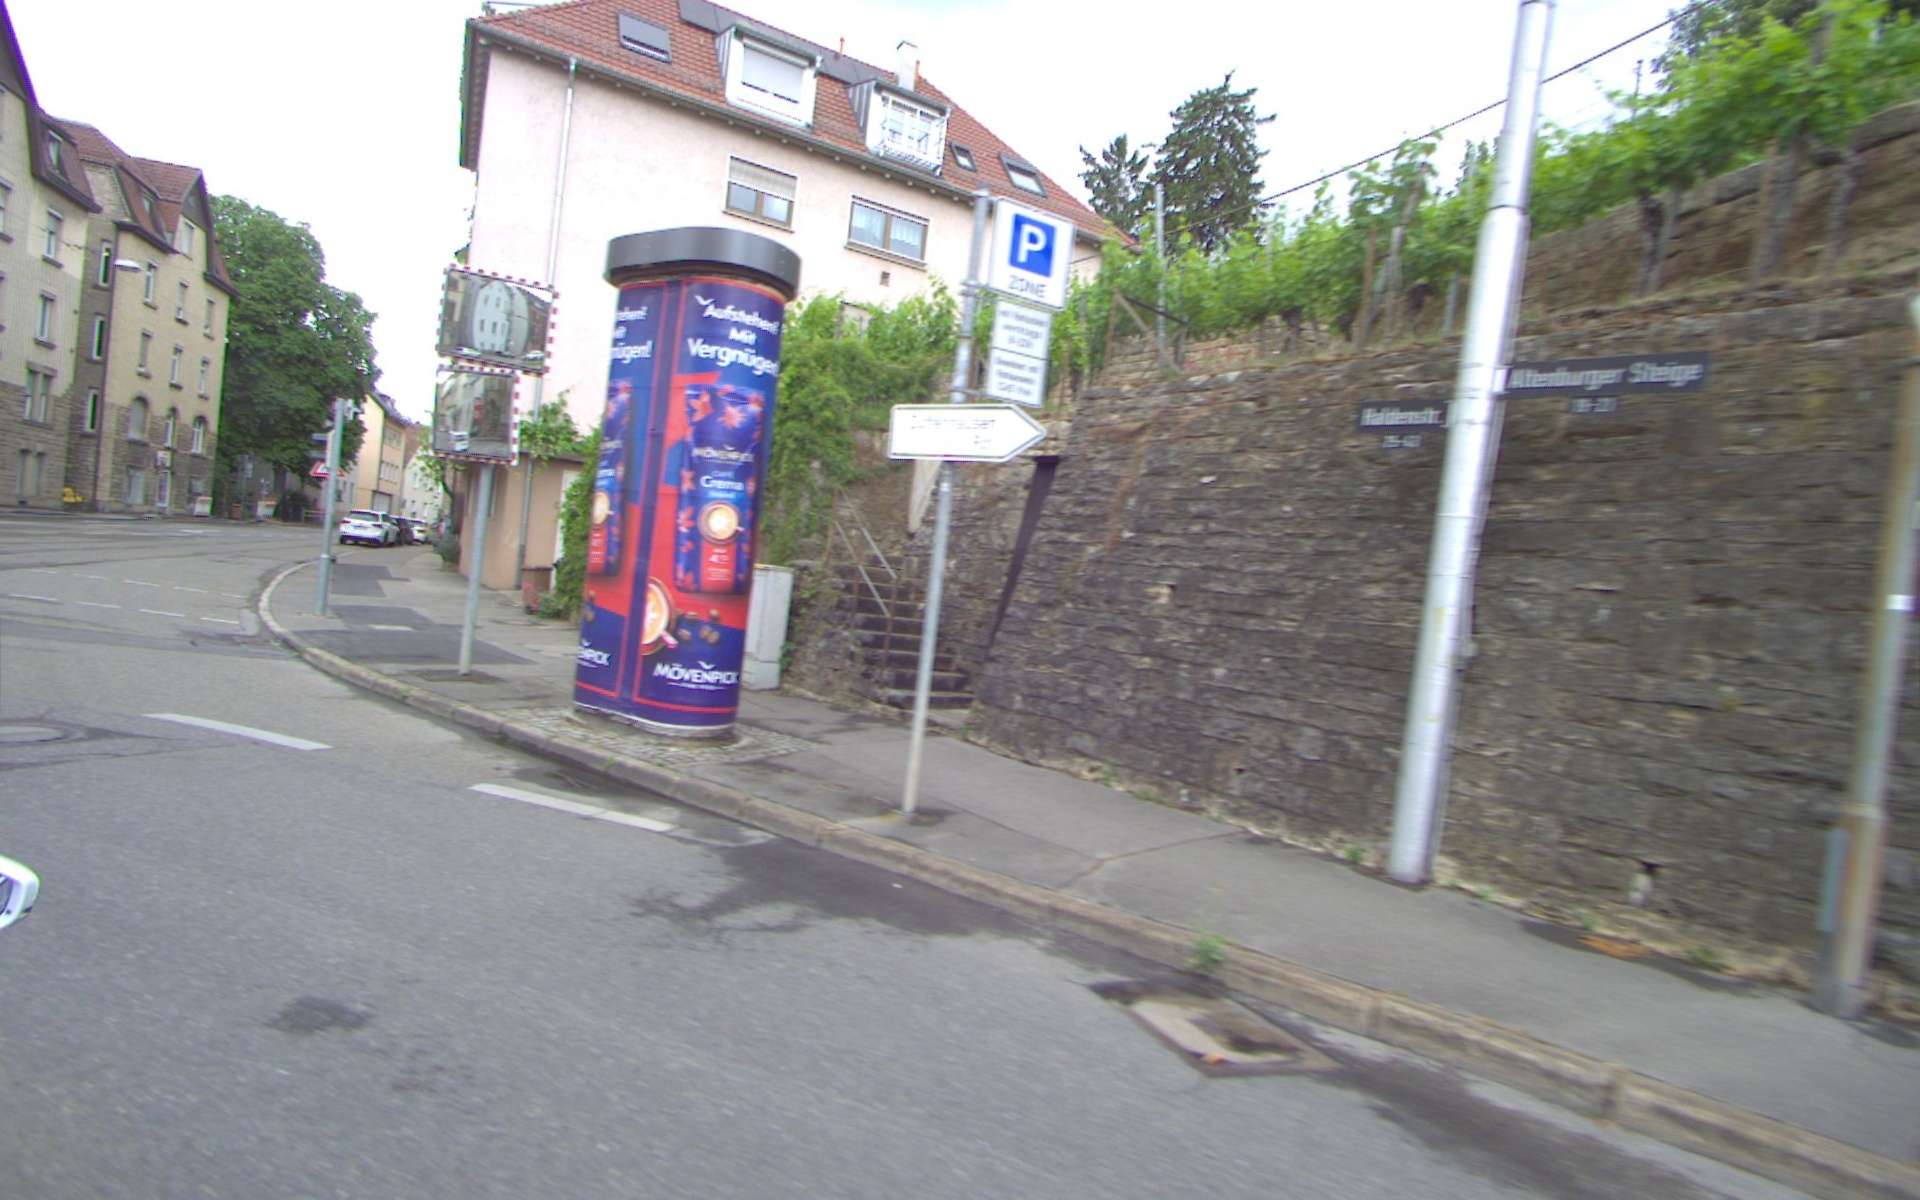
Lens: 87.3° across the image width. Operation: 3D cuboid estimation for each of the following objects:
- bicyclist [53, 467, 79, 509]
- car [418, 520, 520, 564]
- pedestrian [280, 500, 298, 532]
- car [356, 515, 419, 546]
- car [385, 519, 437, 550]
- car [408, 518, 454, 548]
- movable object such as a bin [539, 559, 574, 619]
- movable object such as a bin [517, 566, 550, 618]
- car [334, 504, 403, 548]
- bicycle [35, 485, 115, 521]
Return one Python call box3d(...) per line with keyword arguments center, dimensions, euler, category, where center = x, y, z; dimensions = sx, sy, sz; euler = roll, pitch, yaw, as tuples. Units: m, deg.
box3d(center=(-38.990, -4.866, 43.891), dimensions=(0.934, 1.726, 0.780), euler=(6, 4, 43), category="bicyclist")
box3d(center=(-21.771, -2.551, 44.643), dimensions=(3.878, 1.572, 1.856), euler=(3, 2, -31), category="car")
box3d(center=(-45.208, -5.674, 67.811), dimensions=(0.756, 2.040, 0.749), euler=(4, 2, -22), category="pedestrian")
box3d(center=(-28.909, -3.497, 50.947), dimensions=(1.970, 1.305, 3.982), euler=(4, 2, -19), category="car")
box3d(center=(-30.565, -3.645, 56.117), dimensions=(1.788, 1.482, 3.983), euler=(4, 1, -19), category="car")
box3d(center=(-35.252, -4.437, 67.158), dimensions=(1.941, 1.685, 3.803), euler=(7, 1, -18), category="car")
box3d(center=(-7.697, -0.205, 19.182), dimensions=(0.405, 1.096, 0.467), euler=(5, 1, -44), category="movable object such as a bin")
box3d(center=(-8.014, -0.152, 18.891), dimensions=(0.342, 0.923, 0.489), euler=(6, 0, -44), category="movable object such as a bin")
box3d(center=(-27.133, -3.350, 46.246), dimensions=(1.926, 1.741, 3.981), euler=(4, 1, -20), category="car")
box3d(center=(-38.835, -4.239, 44.178), dimensions=(0.625, 1.324, 2.581), euler=(6, 4, 43), category="bicycle")
